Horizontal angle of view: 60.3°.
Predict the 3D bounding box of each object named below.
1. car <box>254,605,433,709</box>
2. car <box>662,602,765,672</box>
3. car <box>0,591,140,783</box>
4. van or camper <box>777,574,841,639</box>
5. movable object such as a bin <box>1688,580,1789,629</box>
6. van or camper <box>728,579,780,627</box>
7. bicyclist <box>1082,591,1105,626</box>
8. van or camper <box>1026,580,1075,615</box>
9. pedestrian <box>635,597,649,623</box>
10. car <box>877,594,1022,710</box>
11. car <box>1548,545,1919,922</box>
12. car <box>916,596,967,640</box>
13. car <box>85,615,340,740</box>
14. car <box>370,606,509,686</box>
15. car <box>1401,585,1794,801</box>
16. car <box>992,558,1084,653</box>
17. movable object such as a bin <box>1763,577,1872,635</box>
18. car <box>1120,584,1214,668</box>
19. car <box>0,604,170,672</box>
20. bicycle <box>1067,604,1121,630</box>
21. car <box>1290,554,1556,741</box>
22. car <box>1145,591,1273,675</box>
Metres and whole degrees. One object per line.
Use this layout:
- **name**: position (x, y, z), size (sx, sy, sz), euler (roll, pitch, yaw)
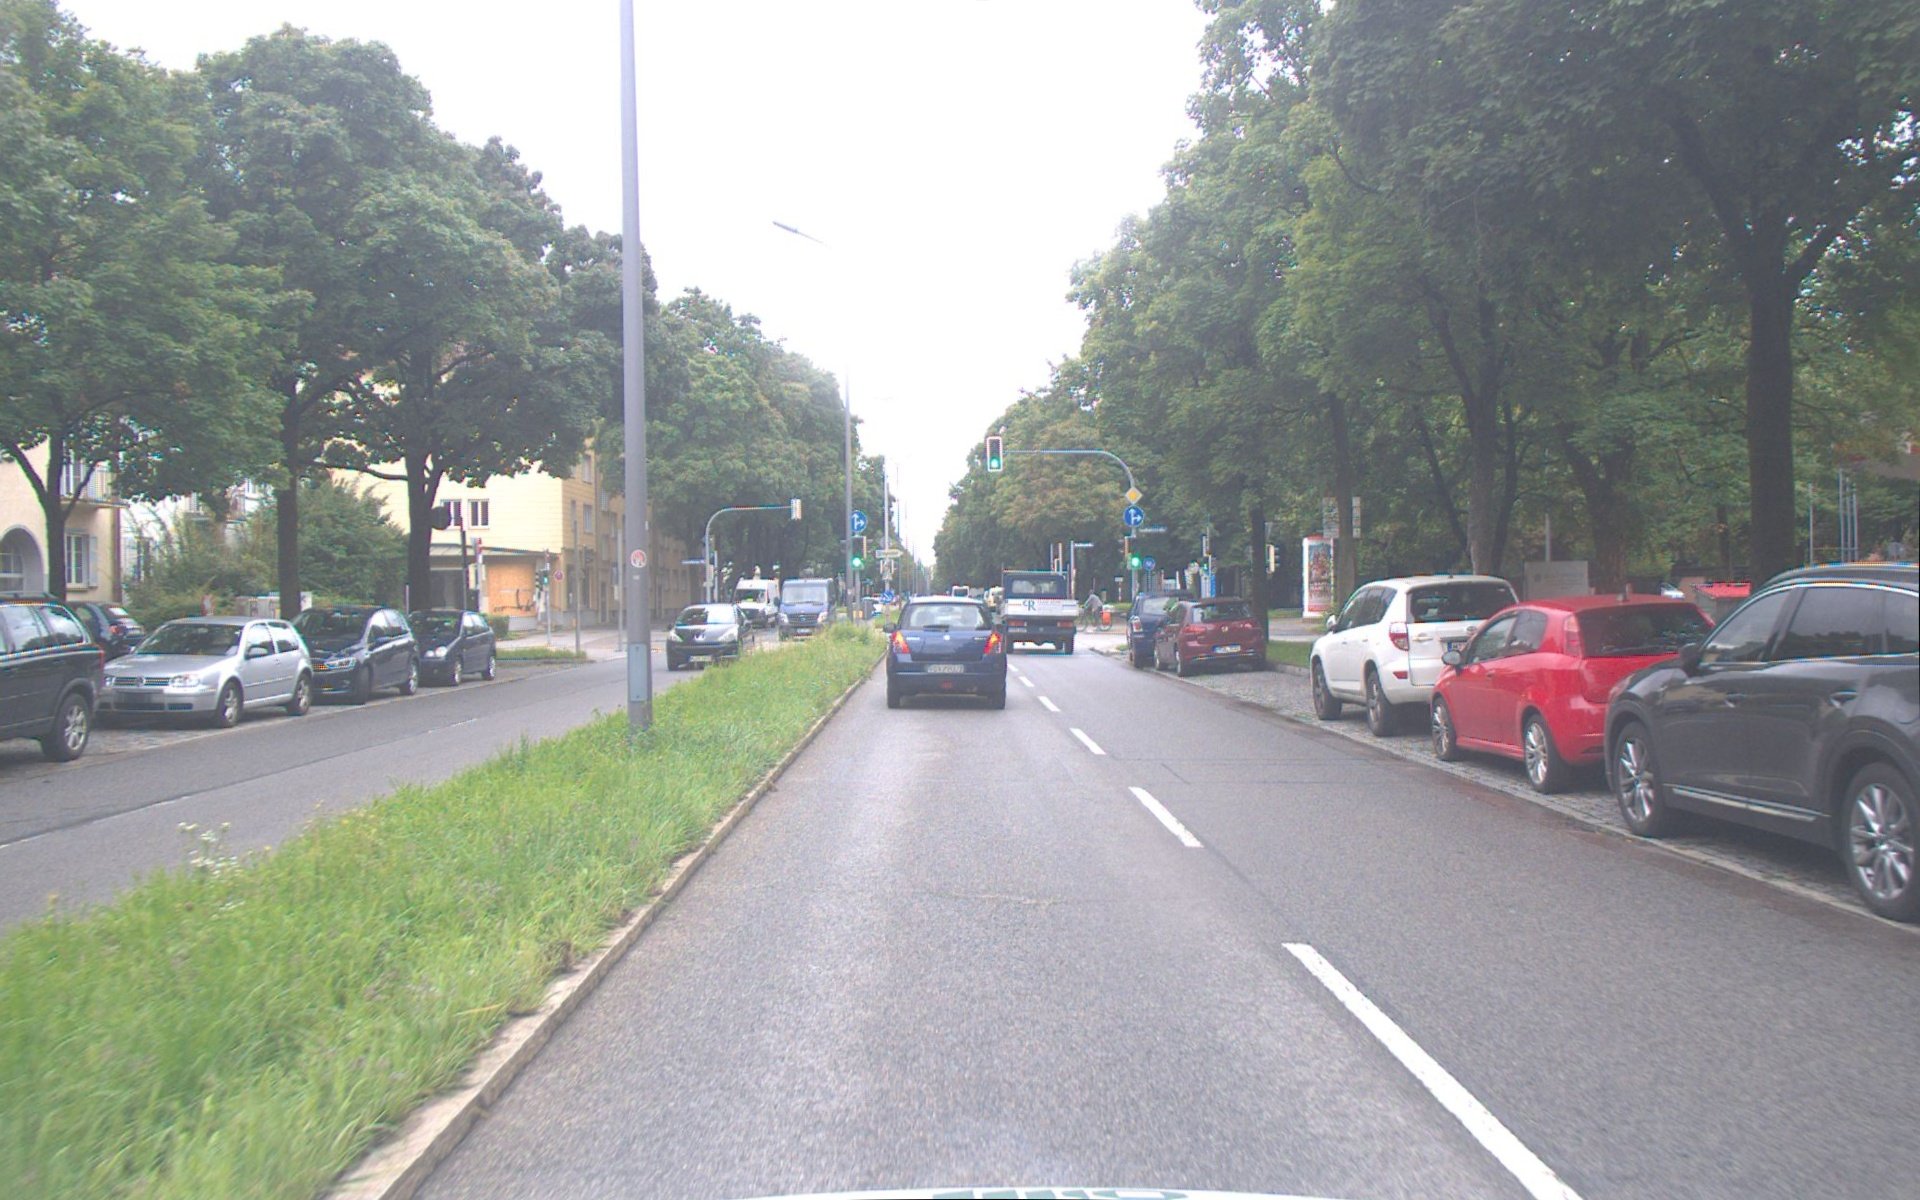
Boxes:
- **car**: position (-10.420, 0.906, 28.275), size (1.633, 1.589, 4.296), euler (-1, 0, -3)
- **car**: position (-5.633, 0.808, 38.237), size (1.702, 1.467, 4.103), euler (-2, 0, 0)
- **car**: position (-10.177, 0.837, 16.525), size (1.761, 1.794, 5.053), euler (2, 0, -5)
- **van or camper**: position (-5.705, 0.236, 63.049), size (1.982, 2.300, 6.020), euler (-2, 0, -2)
- **movable object such as a bin**: position (21.318, 0.126, 45.336), size (2.018, 1.285, 1.531), euler (-1, 0, -1)
- **van or camper**: position (-11.322, 0.151, 91.220), size (2.096, 2.519, 6.258), euler (-2, 0, -1)
- **bicyclist**: position (5.814, 0.374, 71.892), size (0.911, 1.505, 0.990), euler (0, 0, 0)
- **van or camper**: position (4.779, -0.141, 88.189), size (2.083, 1.825, 4.504), euler (0, 0, -4)
- **pedestrian**: position (-18.198, 0.561, 94.560), size (0.616, 1.465, 0.806), euler (1, -1, -1)
- **car**: position (-0.228, 0.687, 23.776), size (1.859, 1.525, 3.657), euler (1, 0, -4)
- **car**: position (5.215, 0.568, 9.422), size (1.725, 1.728, 5.229), euler (-3, 0, -1)
- **car**: position (-0.650, 0.619, 59.839), size (1.762, 1.525, 3.660), euler (-1, 0, 0)
- **car**: position (-10.368, 1.010, 23.309), size (1.632, 1.470, 4.374), euler (2, 0, -1)
- **car**: position (-10.588, 0.896, 33.888), size (1.532, 1.475, 3.838), euler (2, 0, 1)
- **car**: position (5.350, 0.691, 14.503), size (1.725, 1.533, 4.142), euler (-3, 0, -1)
- **car**: position (2.086, 0.132, 45.817), size (2.369, 2.487, 5.087), euler (0, 0, 1)
- **movable object such as a bin**: position (23.501, 0.151, 45.380), size (2.019, 1.512, 1.837), euler (-1, 0, -1)
- **car**: position (4.719, 0.544, 38.261), size (1.726, 1.686, 4.285), euler (-5, 0, 3)
- **car**: position (-20.715, 0.872, 38.785), size (3.561, 1.487, 1.670), euler (-1, 0, -3)
- **bicycle**: position (5.826, 0.741, 71.892), size (2.250, 1.133, 0.996), euler (0, 0, 0)
- **car**: position (5.292, 0.486, 19.553), size (1.725, 1.862, 4.527), euler (-3, 0, -1)
- **car**: position (4.966, 0.618, 33.492), size (1.678, 1.449, 4.281), euler (-5, 0, -2)
